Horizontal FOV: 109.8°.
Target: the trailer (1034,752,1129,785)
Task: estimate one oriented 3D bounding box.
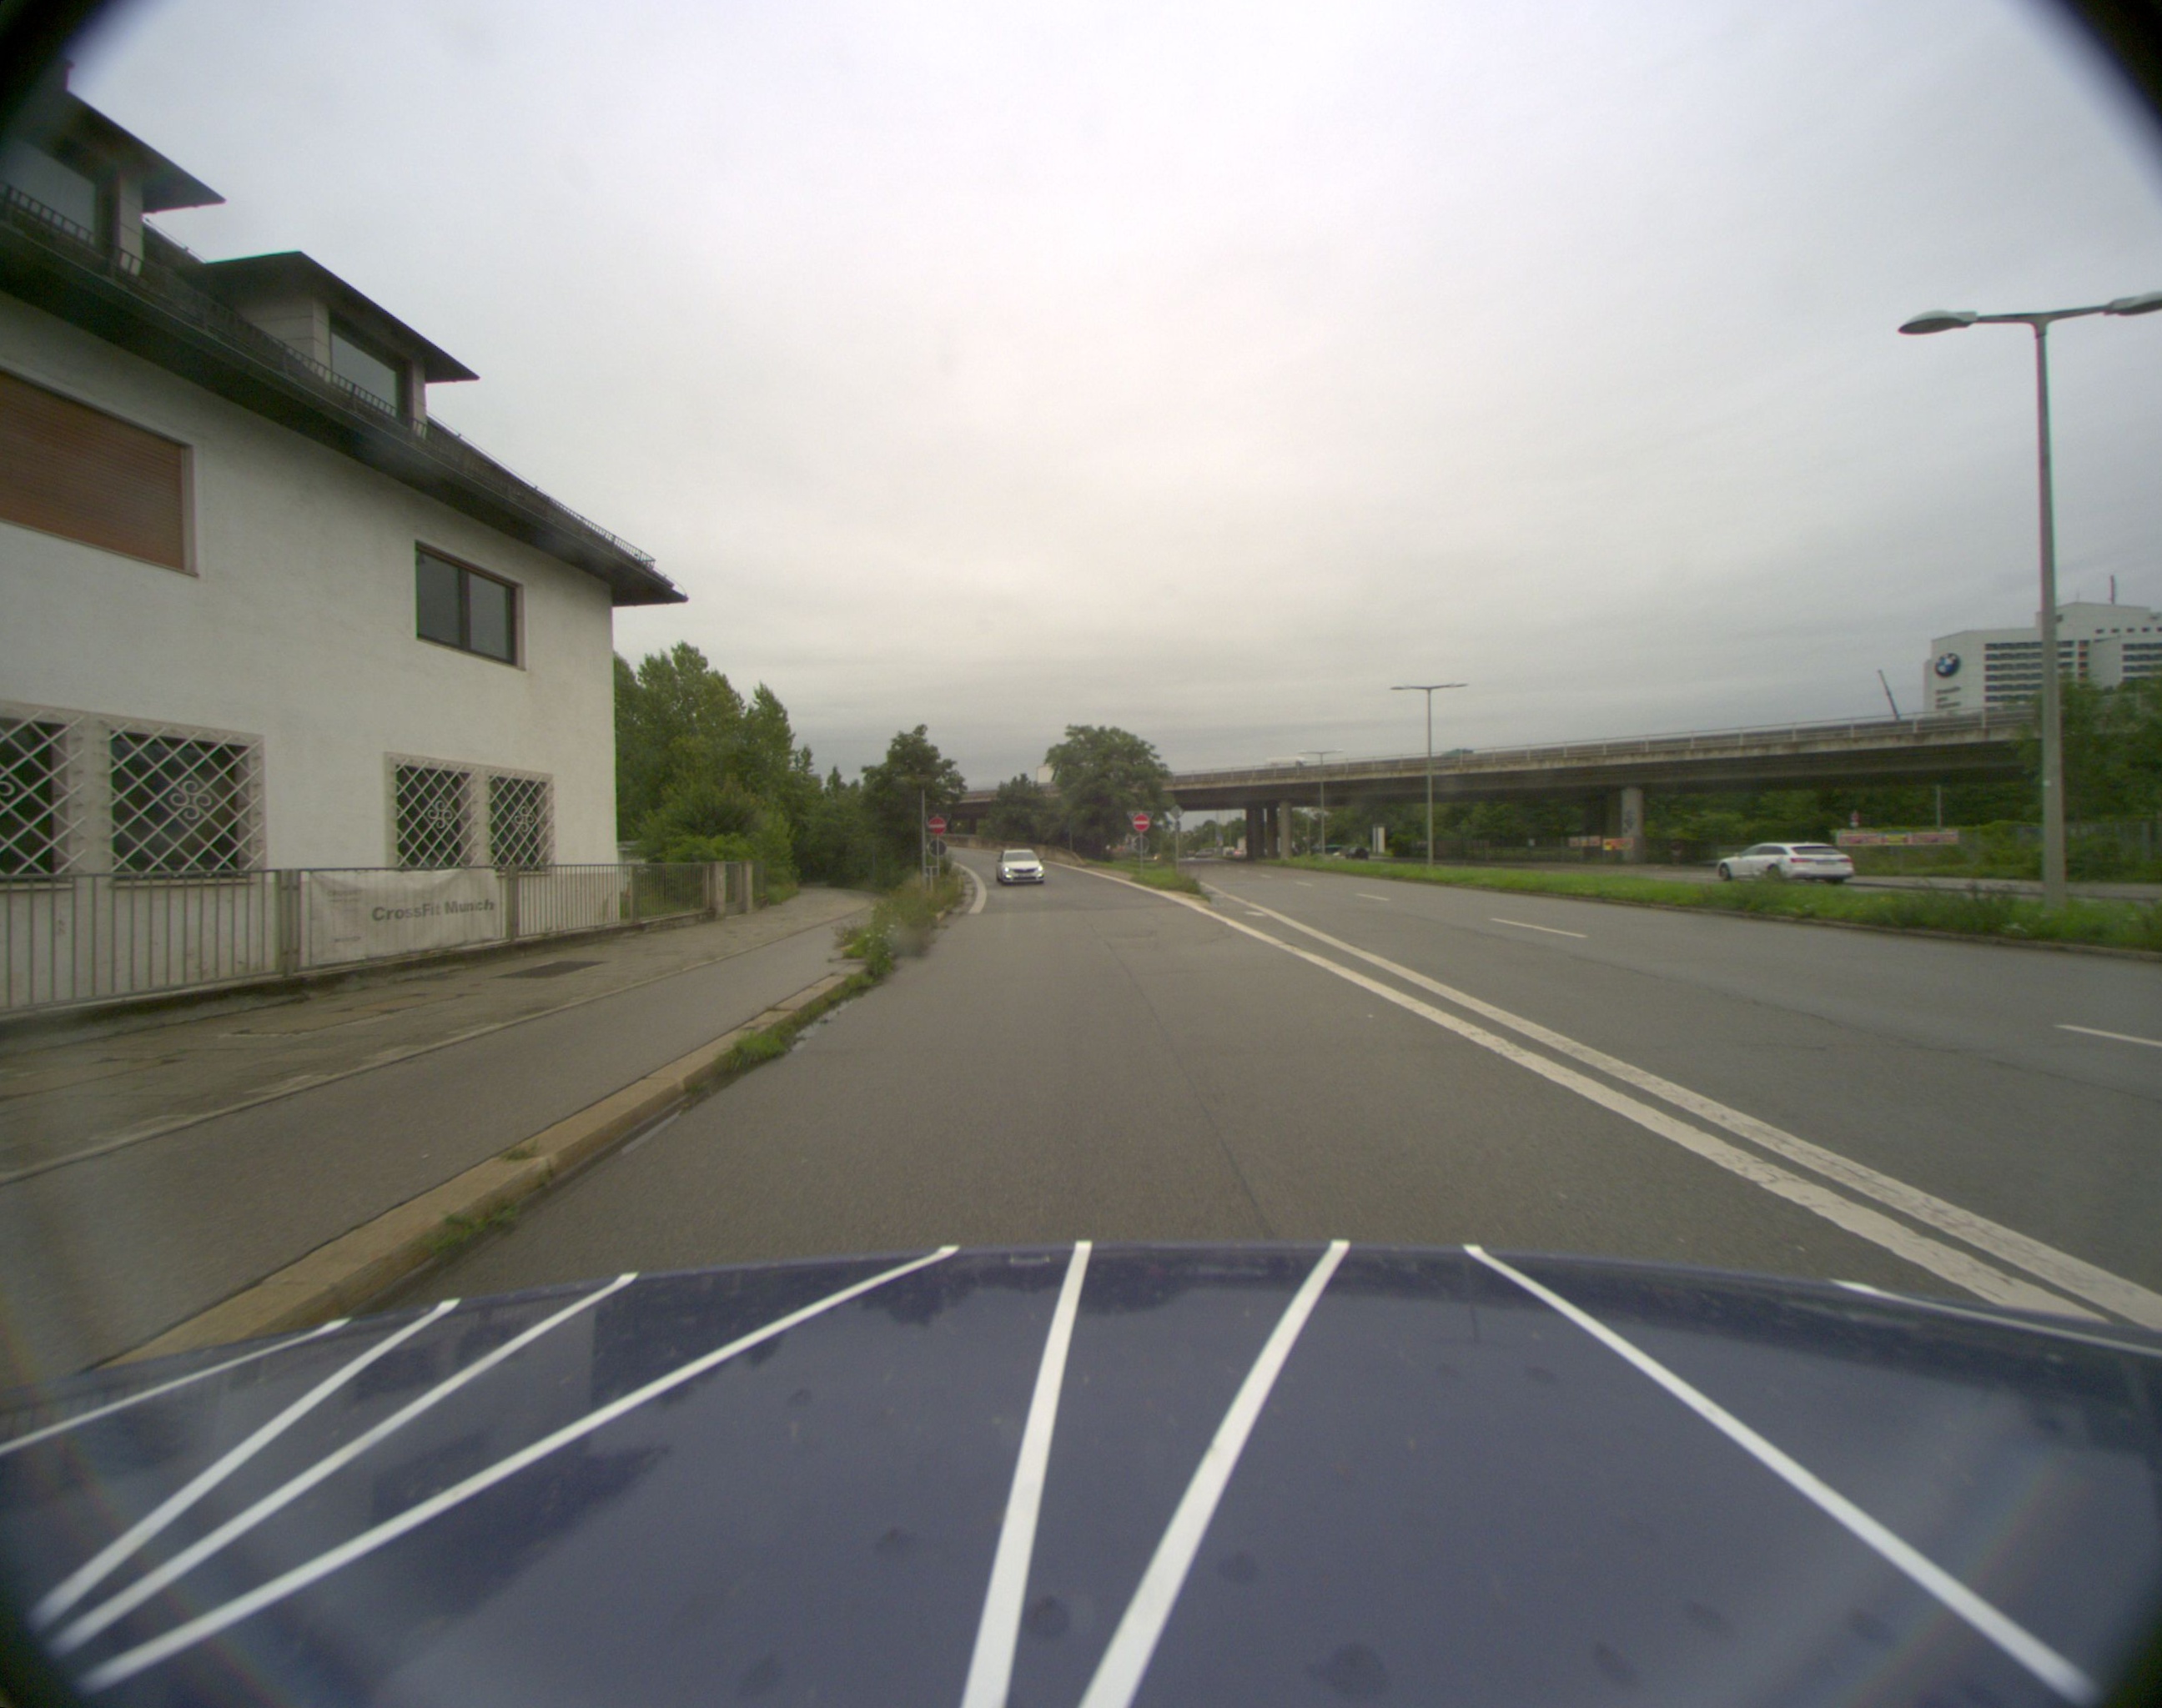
[{"bbox_3d":[-0.210,-10.645,95.917,14.016,3.280,2.671,2,3,44],"label":"trailer"}]

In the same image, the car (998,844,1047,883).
[{"bbox_3d":[-2.615,0.359,33.333,1.916,1.439,4.552,-2,2,-7],"label":"car"}]

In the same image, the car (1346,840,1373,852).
[{"bbox_3d":[33.005,-0.963,90.063,1.973,1.389,4.818,1,2,7],"label":"car"}]

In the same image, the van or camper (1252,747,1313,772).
[{"bbox_3d":[20.311,-9.518,76.837,5.491,2.002,2.336,1,3,44],"label":"van or camper"}]

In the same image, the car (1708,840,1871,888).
[{"bbox_3d":[25.307,0.290,27.455,1.996,1.563,5.123,0,1,13],"label":"car"}]

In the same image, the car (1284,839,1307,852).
[{"bbox_3d":[28.692,-1.126,101.861,1.973,1.574,4.591,2,2,3],"label":"car"}]

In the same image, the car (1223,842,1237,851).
[{"bbox_3d":[28.595,-1.510,145.831,1.973,1.574,4.592,-3,1,4],"label":"car"}]

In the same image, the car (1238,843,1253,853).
[{"bbox_3d":[27.470,-1.007,126.911,1.973,1.574,4.592,2,2,6],"label":"car"}]

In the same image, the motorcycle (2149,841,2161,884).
[{"bbox_3d":[29.744,0.239,19.916,0.534,1.169,2.196,0,1,5],"label":"motorcycle"}]

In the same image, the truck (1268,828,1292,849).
[{"bbox_3d":[29.862,-2.281,114.305,2.257,2.960,7.234,2,1,5],"label":"truck"}]

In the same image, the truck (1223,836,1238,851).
[{"bbox_3d":[38.067,-2.724,193.688,2.796,3.659,6.645,2,2,6],"label":"truck"}]

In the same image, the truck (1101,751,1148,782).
[{"bbox_3d":[5.184,-10.389,90.684,5.178,3.228,2.602,2,4,44],"label":"truck"}]

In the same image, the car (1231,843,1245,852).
[{"bbox_3d":[28.537,-1.254,138.373,1.973,1.574,4.591,2,2,5],"label":"car"}]

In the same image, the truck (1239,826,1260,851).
[{"bbox_3d":[32.415,-2.916,146.455,2.796,4.566,9.604,2,2,6],"label":"truck"}]

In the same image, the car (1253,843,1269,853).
[{"bbox_3d":[31.129,-0.985,131.438,1.973,1.574,4.592,2,2,6],"label":"car"}]
